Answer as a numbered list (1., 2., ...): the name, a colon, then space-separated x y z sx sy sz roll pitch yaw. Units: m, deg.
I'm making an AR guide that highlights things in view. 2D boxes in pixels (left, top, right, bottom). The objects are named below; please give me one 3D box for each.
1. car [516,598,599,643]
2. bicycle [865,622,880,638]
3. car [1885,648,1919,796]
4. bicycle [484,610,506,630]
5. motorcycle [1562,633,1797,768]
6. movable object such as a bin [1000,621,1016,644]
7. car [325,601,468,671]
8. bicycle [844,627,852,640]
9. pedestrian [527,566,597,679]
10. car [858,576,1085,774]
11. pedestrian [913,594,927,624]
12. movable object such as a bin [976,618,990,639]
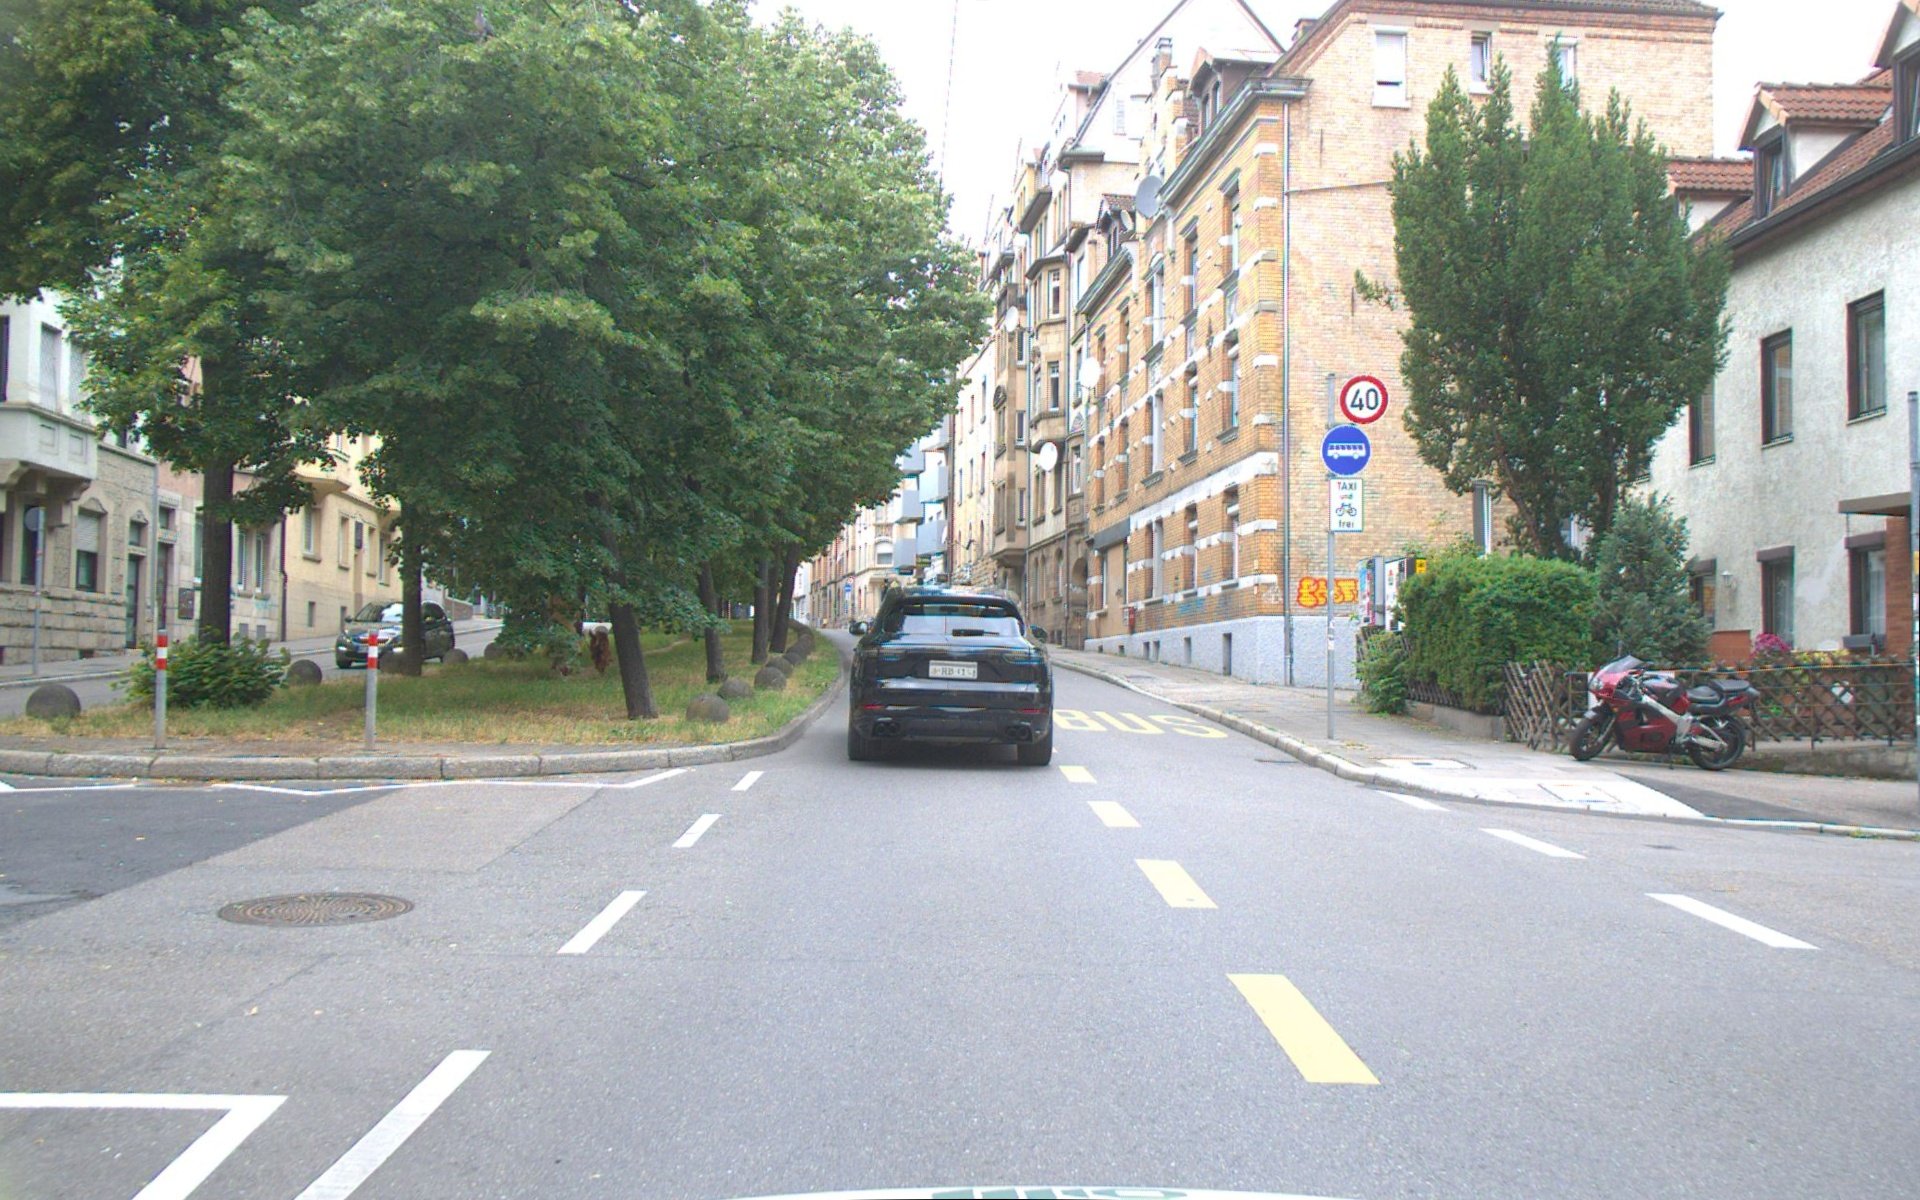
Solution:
1. car: -13.575 0.660 56.060 1.722 1.406 4.668 -1 1 -1
2. bicycle: -6.768 2.353 127.612 0.863 1.149 2.972 2 -2 -9
3. car: 10.836 1.209 14.886 4.043 1.307 1.782 1 3 -4
4. bicycle: -27.523 1.190 97.917 0.754 1.104 2.016 3 -3 -30
5. motorcycle: 7.537 1.044 17.389 2.016 1.290 1.009 2 0 -6
6. movable object such as a bin: 1.983 1.345 68.291 0.583 0.920 0.562 2 -1 -7
7. car: -12.599 0.761 37.281 1.674 1.406 4.668 -1 1 -1
8. bicycle: -9.393 2.797 138.718 0.438 1.055 2.242 1 -3 -10
9. pedestrian: -6.379 0.377 26.533 0.816 1.742 1.122 -3 -2 -2
10. car: -0.006 0.657 16.704 1.954 1.694 3.997 2 0 -3
11. pedestrian: -2.350 0.535 97.841 0.737 1.723 0.857 0 -2 -7
12. movable object such as a bin: 1.073 1.329 76.740 0.583 0.920 0.502 2 -5 -7
